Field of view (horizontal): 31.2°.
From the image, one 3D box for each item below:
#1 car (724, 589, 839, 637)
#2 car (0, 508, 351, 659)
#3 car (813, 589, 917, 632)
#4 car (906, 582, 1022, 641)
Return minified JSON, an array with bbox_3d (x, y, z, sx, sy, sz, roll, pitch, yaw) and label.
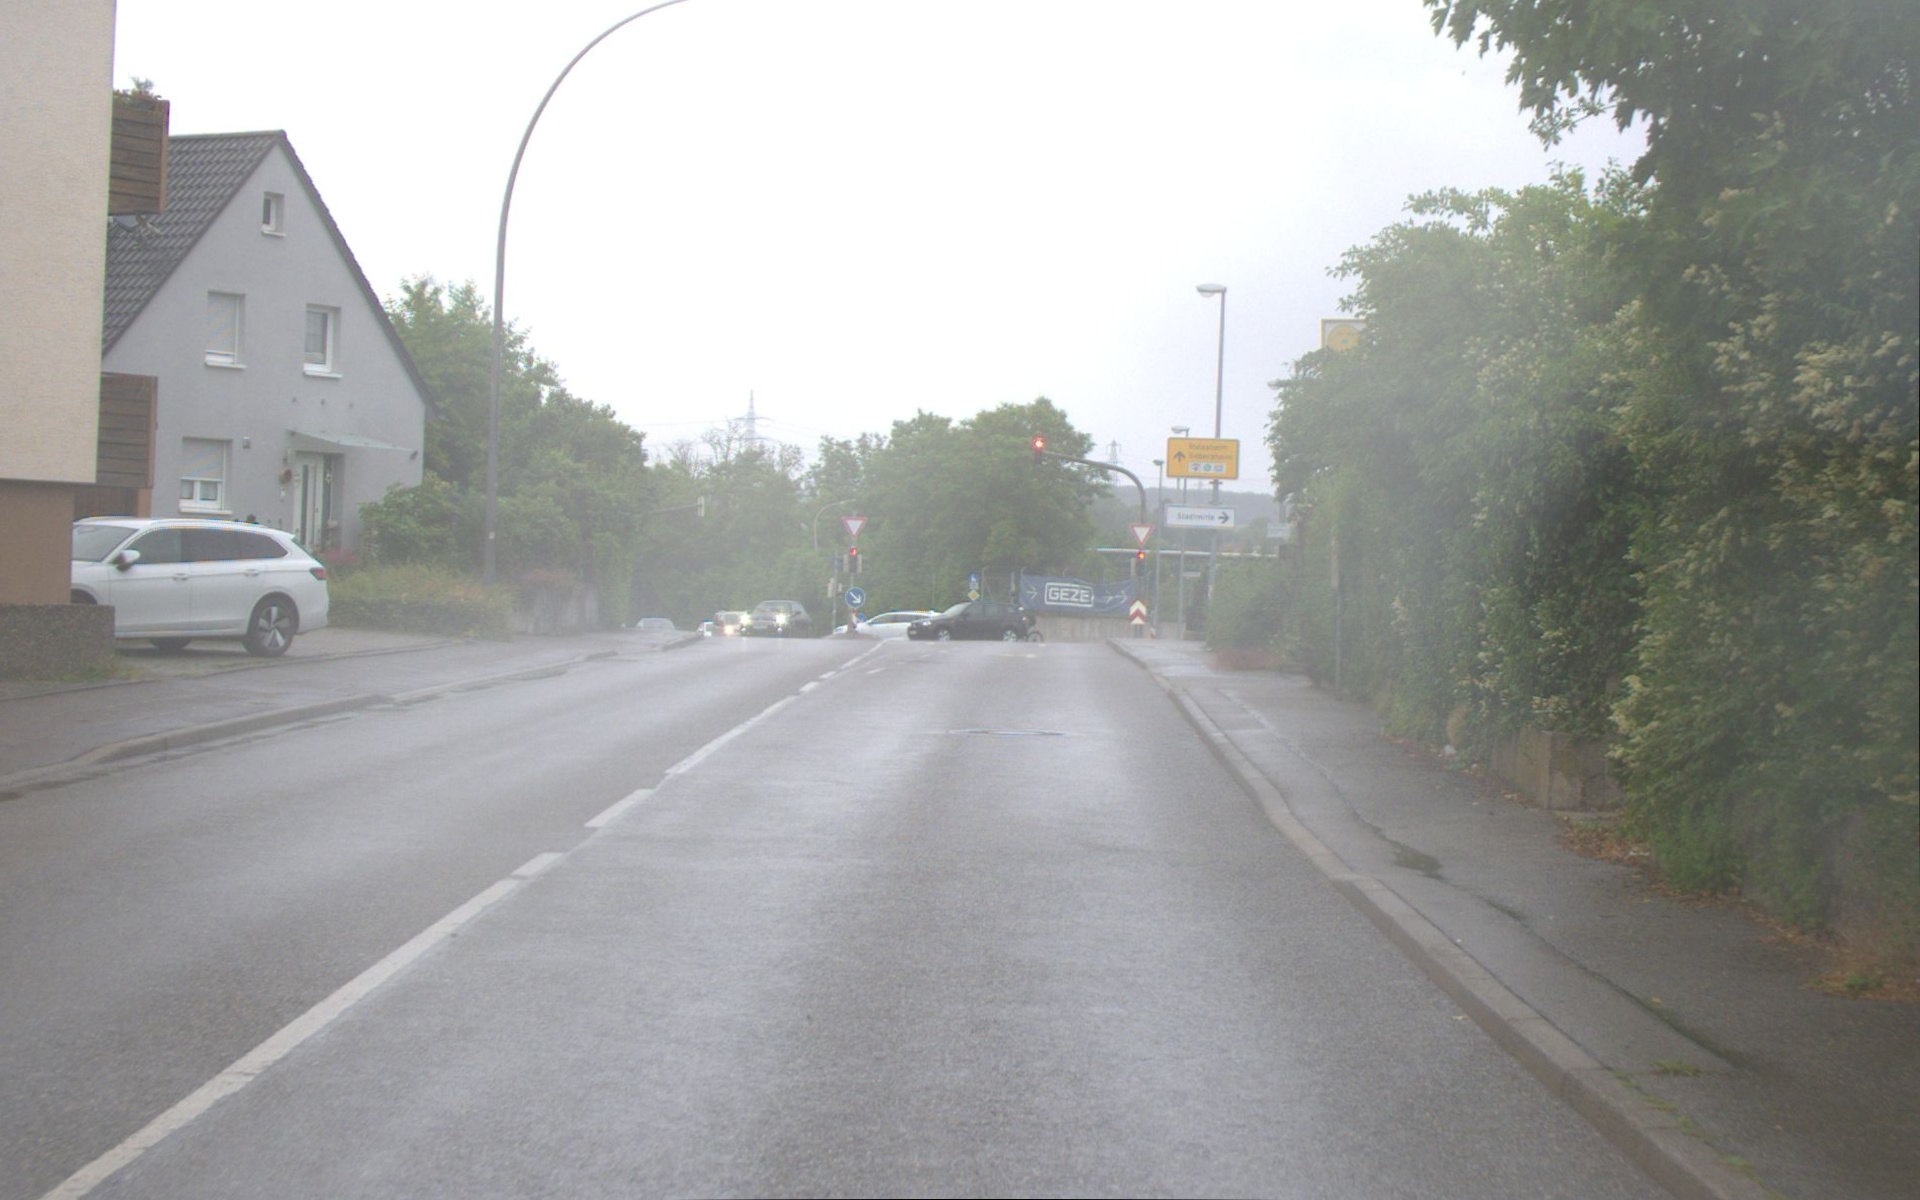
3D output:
[{"bbox_3d":[-6.079,0.452,117.547,1.809,1.518,3.992,2,1,35],"label":"car"},{"bbox_3d":[-9.037,-0.191,37.135,1.905,1.472,4.872,4,2,35],"label":"car"},{"bbox_3d":[-3.821,0.428,138.755,3.988,1.612,1.943,0,3,7],"label":"car"},{"bbox_3d":[0.150,0.425,126.218,3.988,2.007,1.777,2,0,8],"label":"car"}]
